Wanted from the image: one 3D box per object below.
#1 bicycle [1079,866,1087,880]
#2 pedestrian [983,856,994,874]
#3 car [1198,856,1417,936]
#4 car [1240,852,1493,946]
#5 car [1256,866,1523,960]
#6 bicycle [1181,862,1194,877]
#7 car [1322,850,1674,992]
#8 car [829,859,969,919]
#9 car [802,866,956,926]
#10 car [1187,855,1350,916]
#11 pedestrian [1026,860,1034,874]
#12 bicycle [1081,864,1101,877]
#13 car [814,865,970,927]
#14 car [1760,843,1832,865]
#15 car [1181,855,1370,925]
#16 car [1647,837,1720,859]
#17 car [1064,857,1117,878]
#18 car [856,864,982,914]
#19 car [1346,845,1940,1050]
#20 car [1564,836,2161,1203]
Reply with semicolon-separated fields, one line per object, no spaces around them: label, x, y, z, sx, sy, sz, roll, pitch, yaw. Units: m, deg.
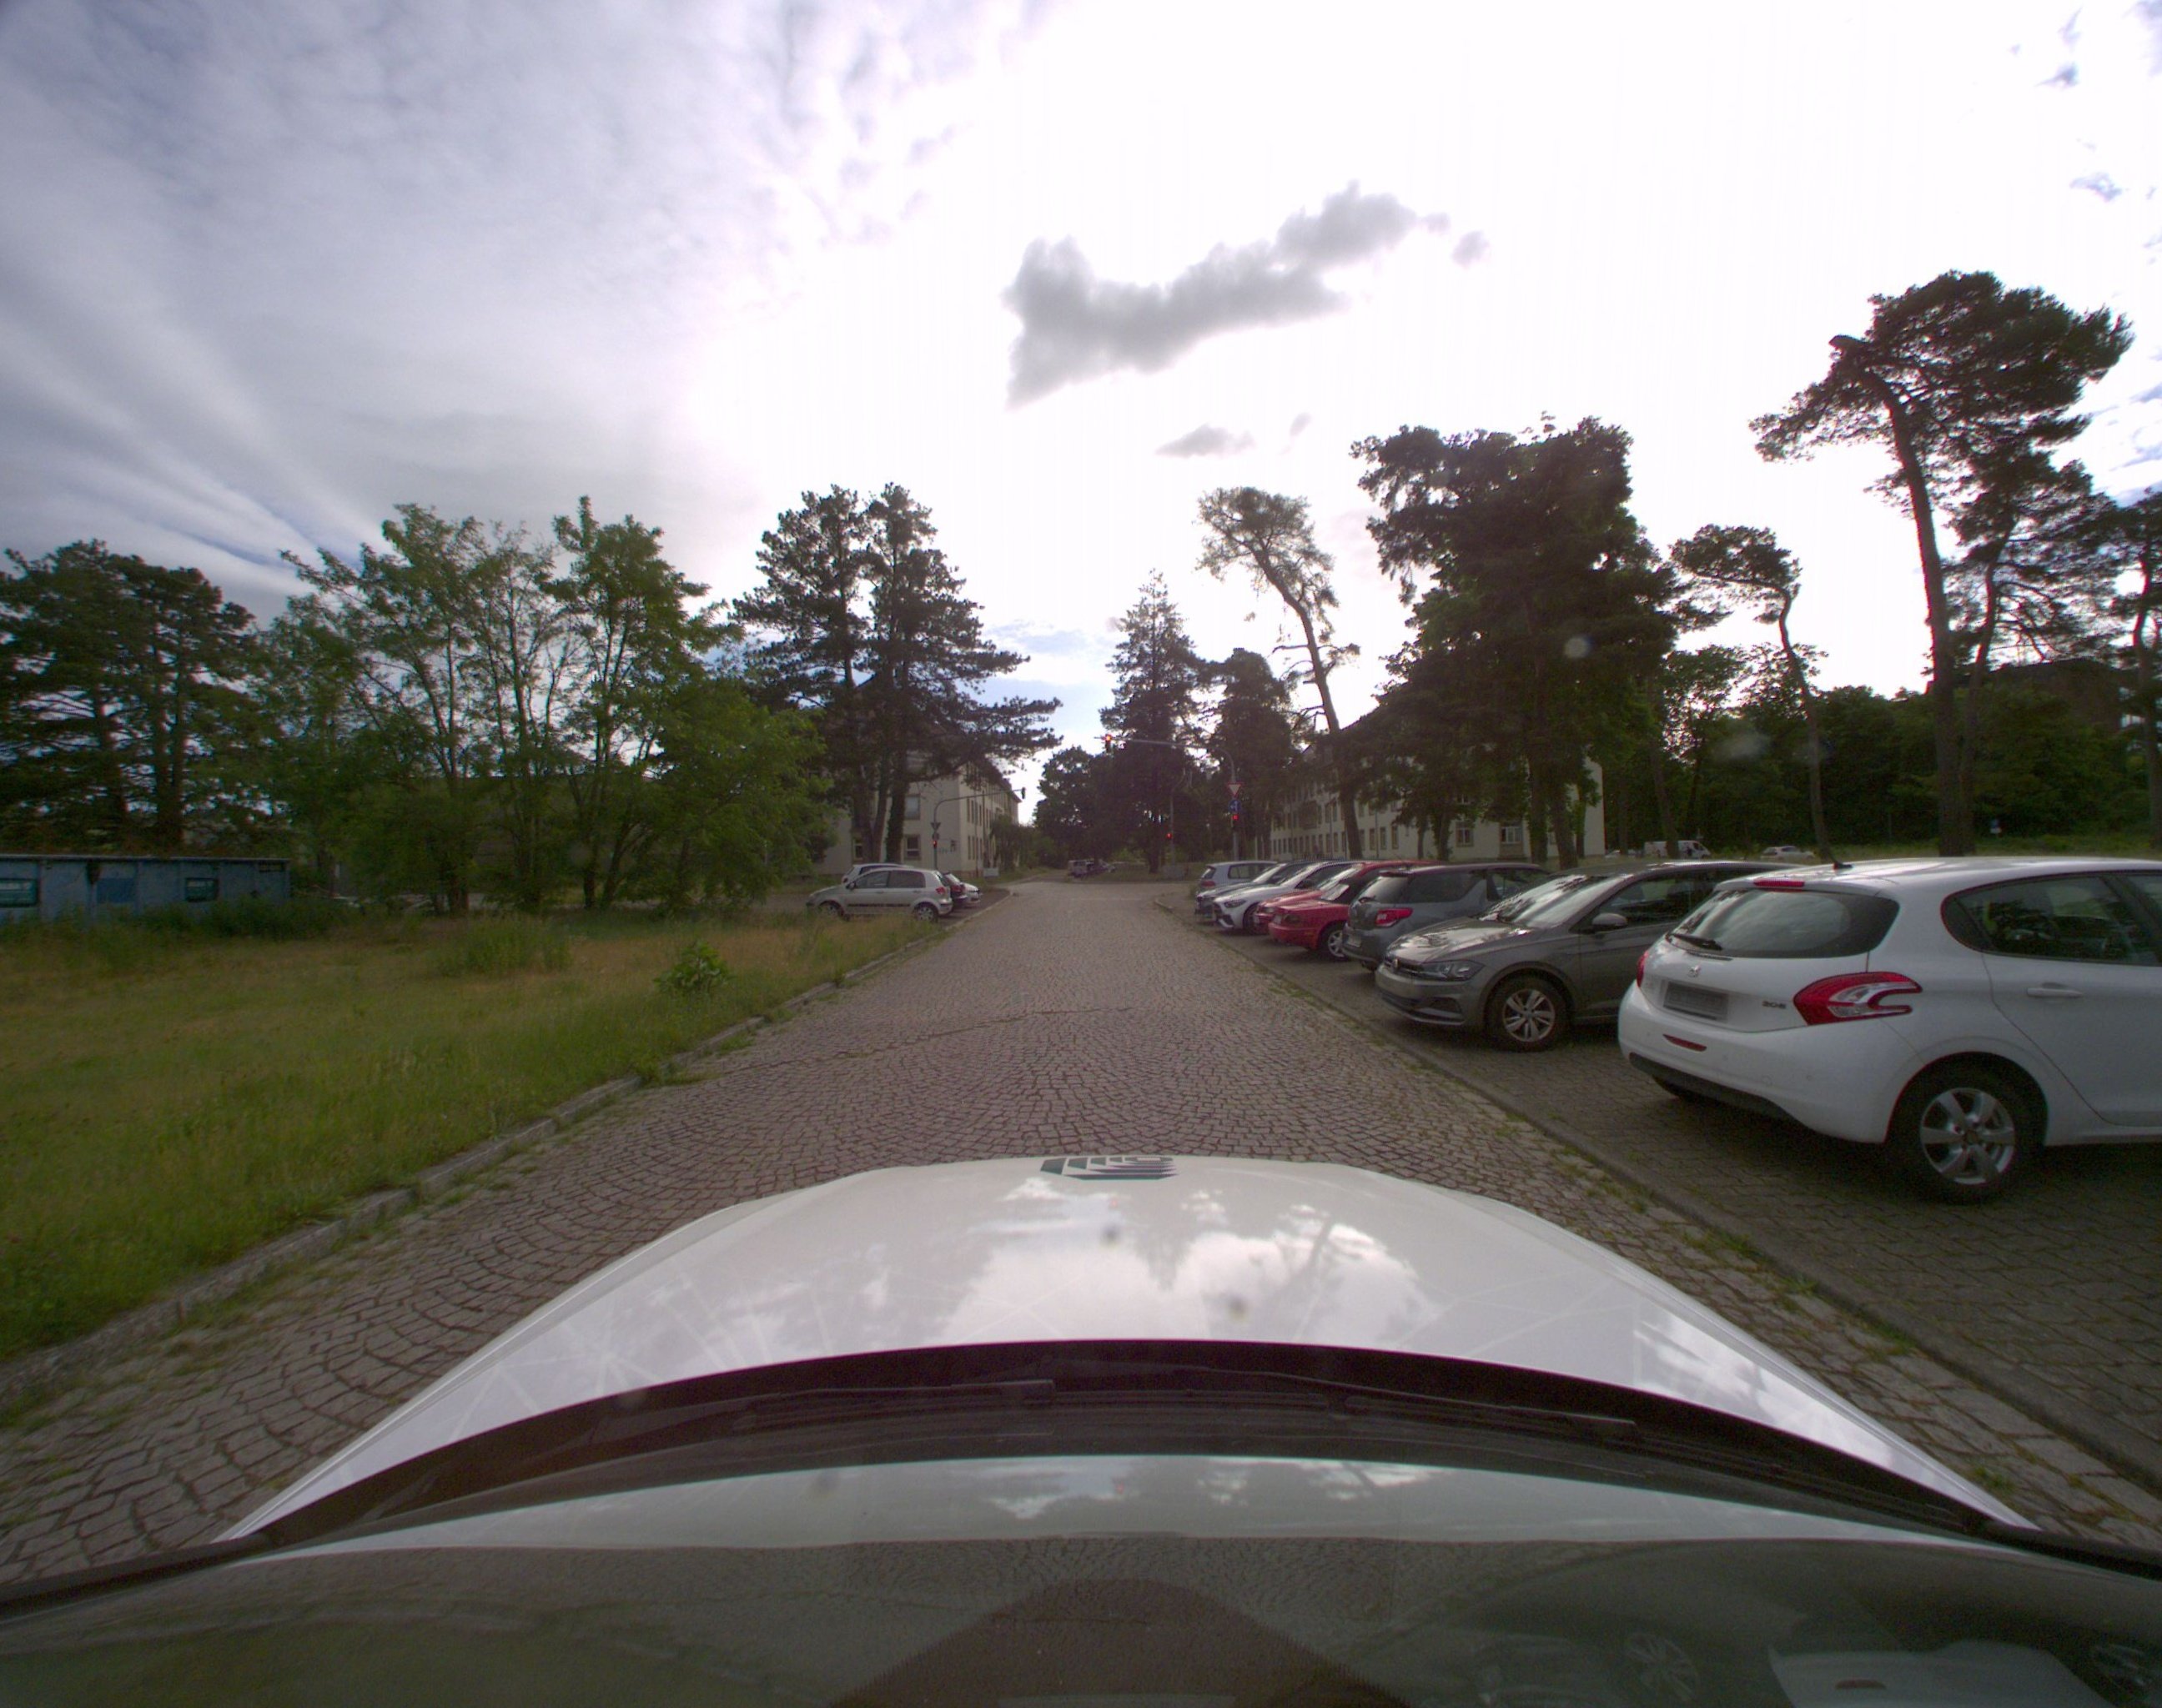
bicycle;0.159;1.610;70.264;0.660;1.171;1.887;0;-1;0
pedestrian;-9.924;1.201;87.256;1.071;1.959;1.121;0;-1;0
car;4.801;0.849;17.550;4.182;1.437;1.750;-2;-1;-8
car;5.215;0.788;15.195;4.095;1.476;1.683;-2;-1;-2
car;4.724;0.890;12.844;3.574;1.223;1.628;-2;-1;0
bicycle;7.811;1.108;59.754;0.660;1.051;1.887;0;0;0
car;5.052;0.772;10.225;3.495;1.487;1.742;-2;-1;-1
car;-5.991;1.133;27.172;4.292;1.732;1.649;-2;-1;-6
car;-5.316;1.095;21.782;3.712;1.481;1.671;1;-1;-4
car;5.210;0.862;22.875;4.130;1.463;1.630;-2;-1;-6
pedestrian;-7.483;1.881;119.125;1.237;1.959;1.119;0;-1;-6
bicycle;0.991;1.575;78.407;1.879;1.171;0.663;0;-1;-6
car;-5.548;1.212;24.373;4.293;1.554;1.808;-2;-1;-7
car;57.923;0.020;66.022;4.118;1.804;1.900;0;-1;1
car;4.813;0.853;20.316;4.231;1.479;1.703;-2;-1;-11
car;56.723;-0.525;76.743;5.283;2.020;2.105;0;-1;0
car;1.034;1.499;89.715;5.381;2.101;2.169;-1;-1;-13
car;-5.806;1.246;29.627;4.293;1.554;1.808;-2;-1;-7
car;4.756;0.746;7.354;4.117;1.447;1.765;-2;-1;0
car;5.000;0.700;4.454;3.642;1.479;1.765;-2;-1;-1
